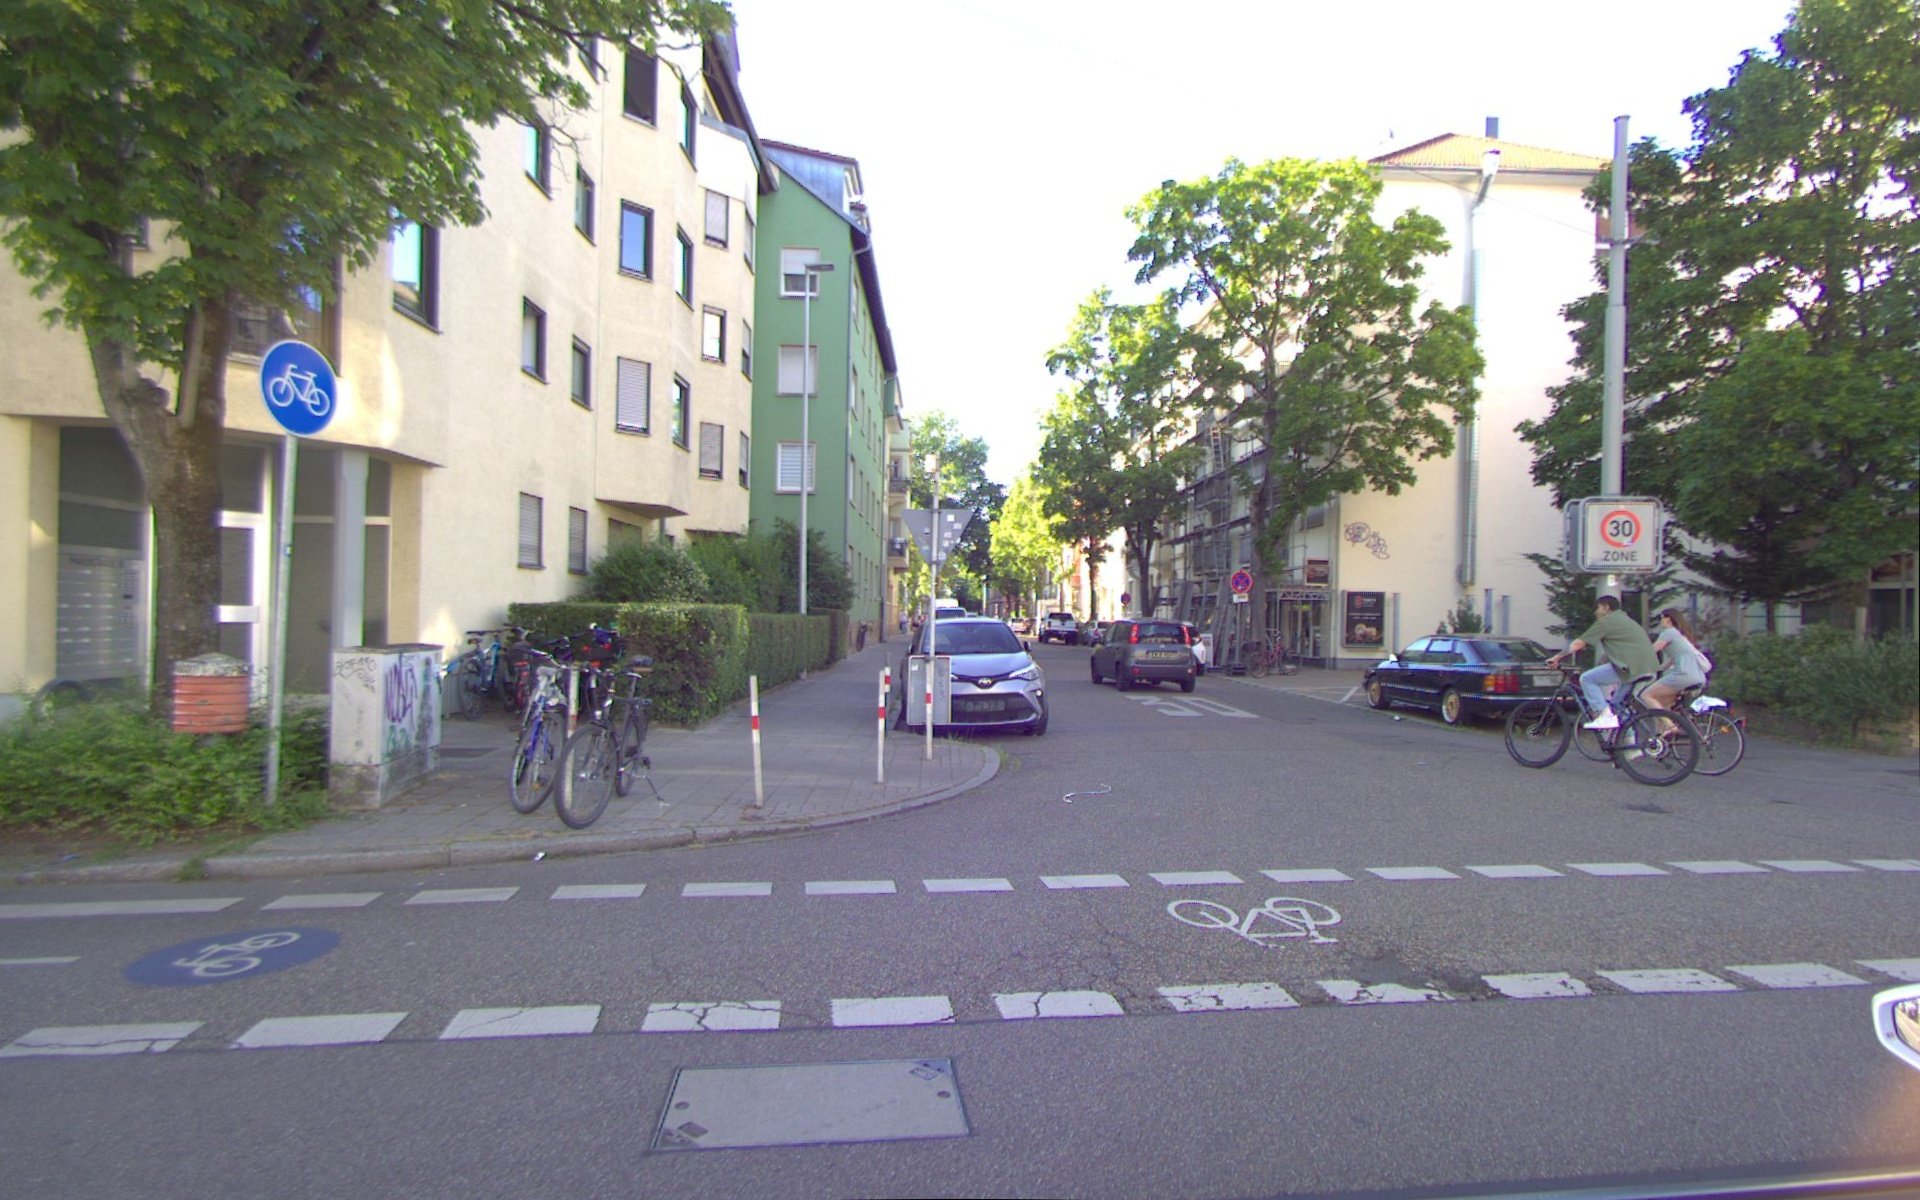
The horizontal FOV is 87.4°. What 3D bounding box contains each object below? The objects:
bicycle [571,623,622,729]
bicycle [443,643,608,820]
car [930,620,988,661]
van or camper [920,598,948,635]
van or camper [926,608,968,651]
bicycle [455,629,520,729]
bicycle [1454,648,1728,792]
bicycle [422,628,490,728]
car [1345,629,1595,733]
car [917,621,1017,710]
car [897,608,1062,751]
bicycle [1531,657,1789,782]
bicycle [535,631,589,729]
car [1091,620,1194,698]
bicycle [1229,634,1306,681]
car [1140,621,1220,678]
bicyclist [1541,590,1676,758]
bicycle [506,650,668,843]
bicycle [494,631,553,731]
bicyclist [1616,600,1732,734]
[{"bbox_3d":[-4.386,0.886,12.166,0.326,1.159,1.391,1,1,-10],"label":"bicycle"},{"bbox_3d":[-3.145,0.897,7.442,0.584,1.099,1.810,1,-1,-6],"label":"bicycle"},{"bbox_3d":[-0.086,1.516,38.753,1.947,1.475,4.111,0,-1,-4],"label":"car"},{"bbox_3d":[-1.934,1.182,73.432,1.961,2.587,5.021,1,-1,-2],"label":"van or camper"},{"bbox_3d":[-0.654,1.428,49.847,1.961,2.040,4.911,0,-1,-1],"label":"van or camper"},{"bbox_3d":[-5.591,0.910,11.935,0.326,1.060,1.391,1,1,-10],"label":"bicycle"},{"bbox_3d":[6.412,1.153,10.334,0.834,1.164,2.207,1,1,-39],"label":"bicycle"},{"bbox_3d":[-5.927,0.888,11.859,0.326,1.060,1.391,1,1,-10],"label":"bicycle"},{"bbox_3d":[8.200,1.231,16.695,1.680,1.406,4.569,2,-1,-2],"label":"car"},{"bbox_3d":[0.028,1.189,19.636,1.724,1.517,4.134,-1,-1,-3],"label":"car"},{"bbox_3d":[0.120,0.995,14.158,1.873,1.682,3.997,-1,-1,-5],"label":"car"},{"bbox_3d":[7.743,1.277,11.219,0.834,1.164,2.208,4,-3,-38],"label":"bicycle"},{"bbox_3d":[-4.832,0.943,12.252,0.326,1.060,1.391,1,1,-10],"label":"bicycle"},{"bbox_3d":[3.911,1.233,22.013,1.531,1.553,3.486,1,-1,-1],"label":"car"},{"bbox_3d":[8.409,1.548,27.474,1.955,1.181,0.723,-1,0,-19],"label":"bicycle"},{"bbox_3d":[6.467,1.428,29.833,1.647,1.565,3.404,1,-1,1],"label":"car"},{"bbox_3d":[6.528,0.743,10.121,0.876,1.581,0.859,3,-5,-36],"label":"bicyclist"},{"bbox_3d":[-2.531,0.935,7.025,0.584,1.099,1.881,1,-1,-6],"label":"bicycle"},{"bbox_3d":[-5.191,0.932,11.991,0.326,1.060,1.391,1,1,-10],"label":"bicycle"},{"bbox_3d":[7.871,0.750,11.090,0.619,1.398,0.859,4,-6,-38],"label":"bicyclist"}]
